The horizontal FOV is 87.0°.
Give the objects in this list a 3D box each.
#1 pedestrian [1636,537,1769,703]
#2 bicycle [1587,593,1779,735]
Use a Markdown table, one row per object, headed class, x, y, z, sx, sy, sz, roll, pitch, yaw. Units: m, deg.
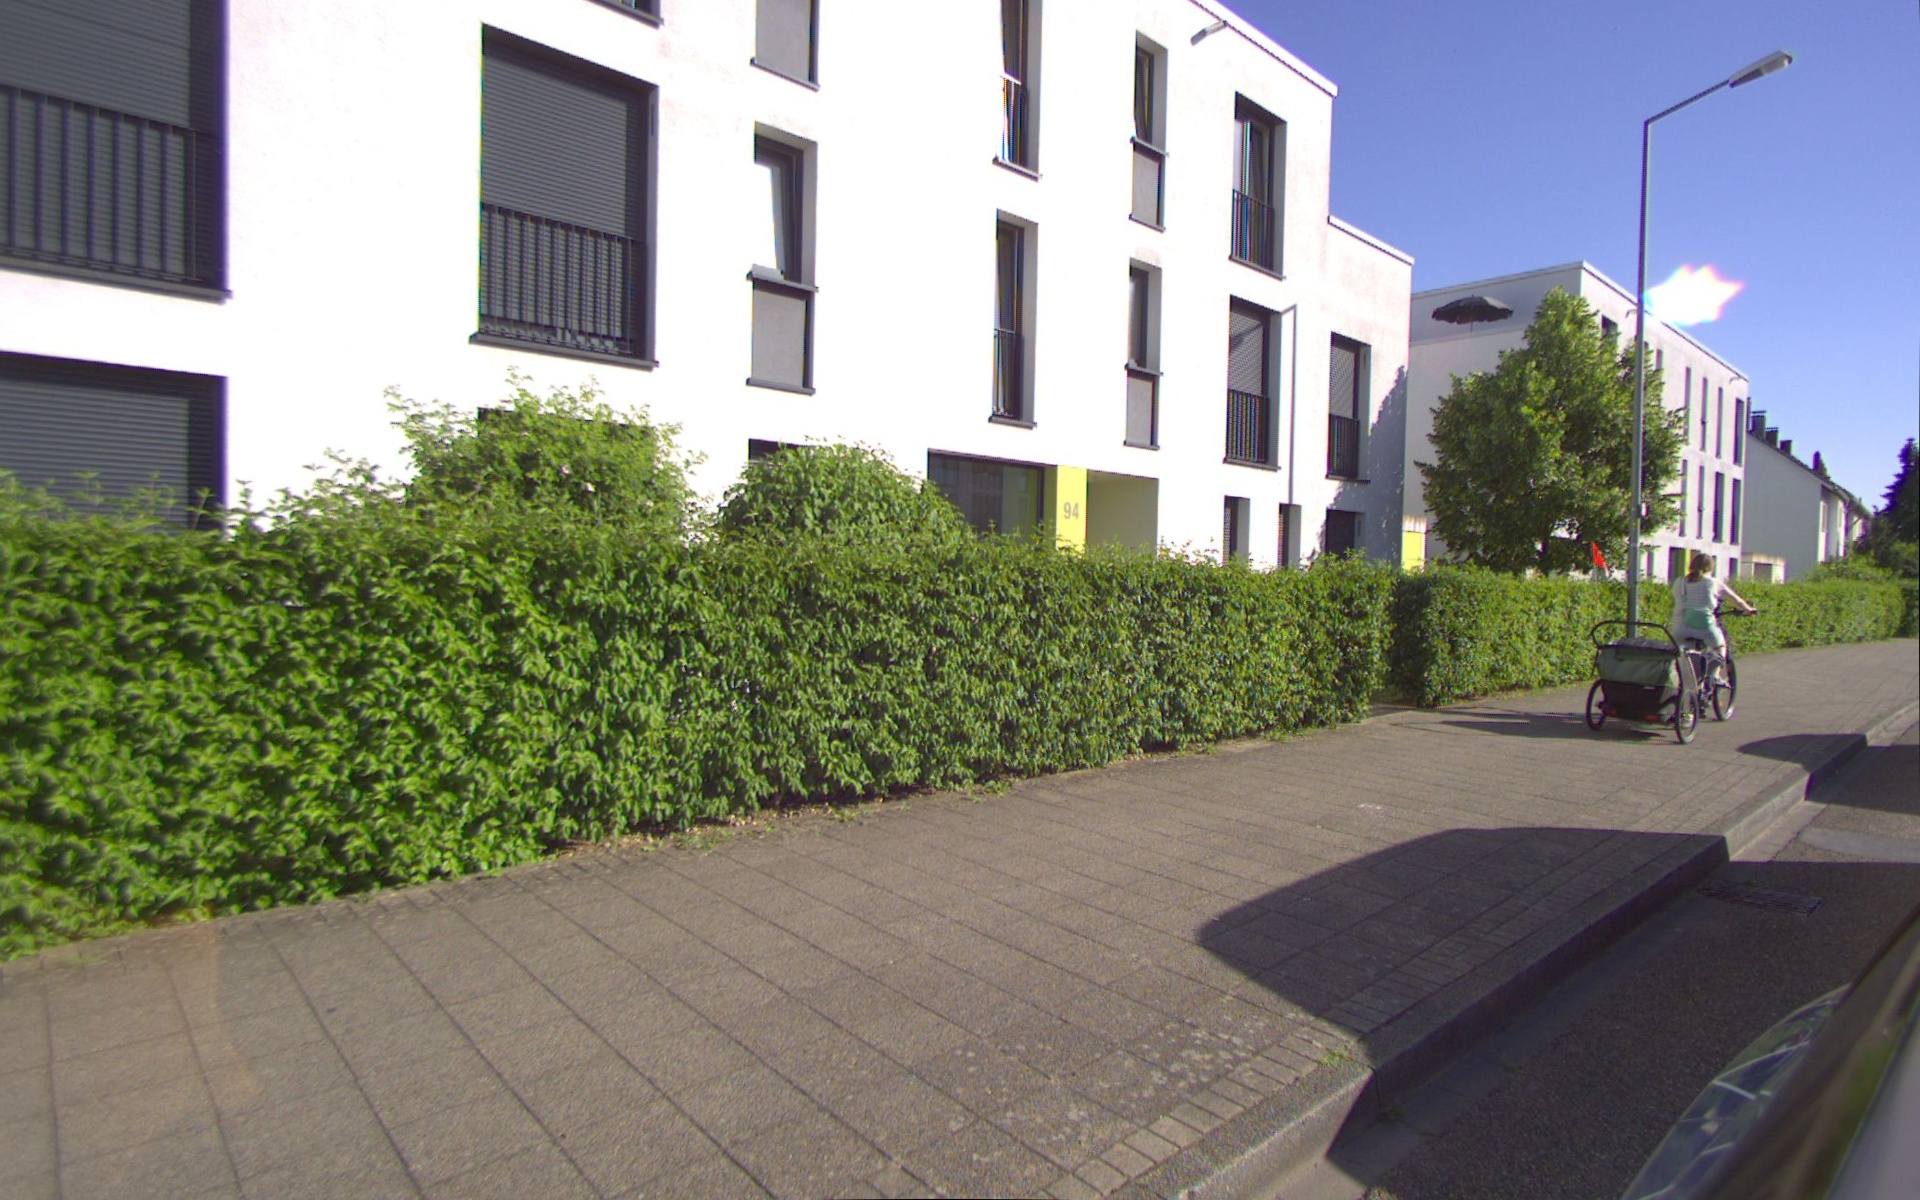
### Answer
| class | x | y | z | sx | sy | sz | roll | pitch | yaw |
| --- | --- | --- | --- | --- | --- | --- | --- | --- | --- |
| pedestrian | 7.694 | 0.172 | 10.494 | 0.840 | 1.613 | 0.912 | 0 | 2 | -42 |
| bicycle | 7.340 | 0.549 | 10.186 | 3.072 | 1.187 | 0.930 | -1 | 3 | -43 |
